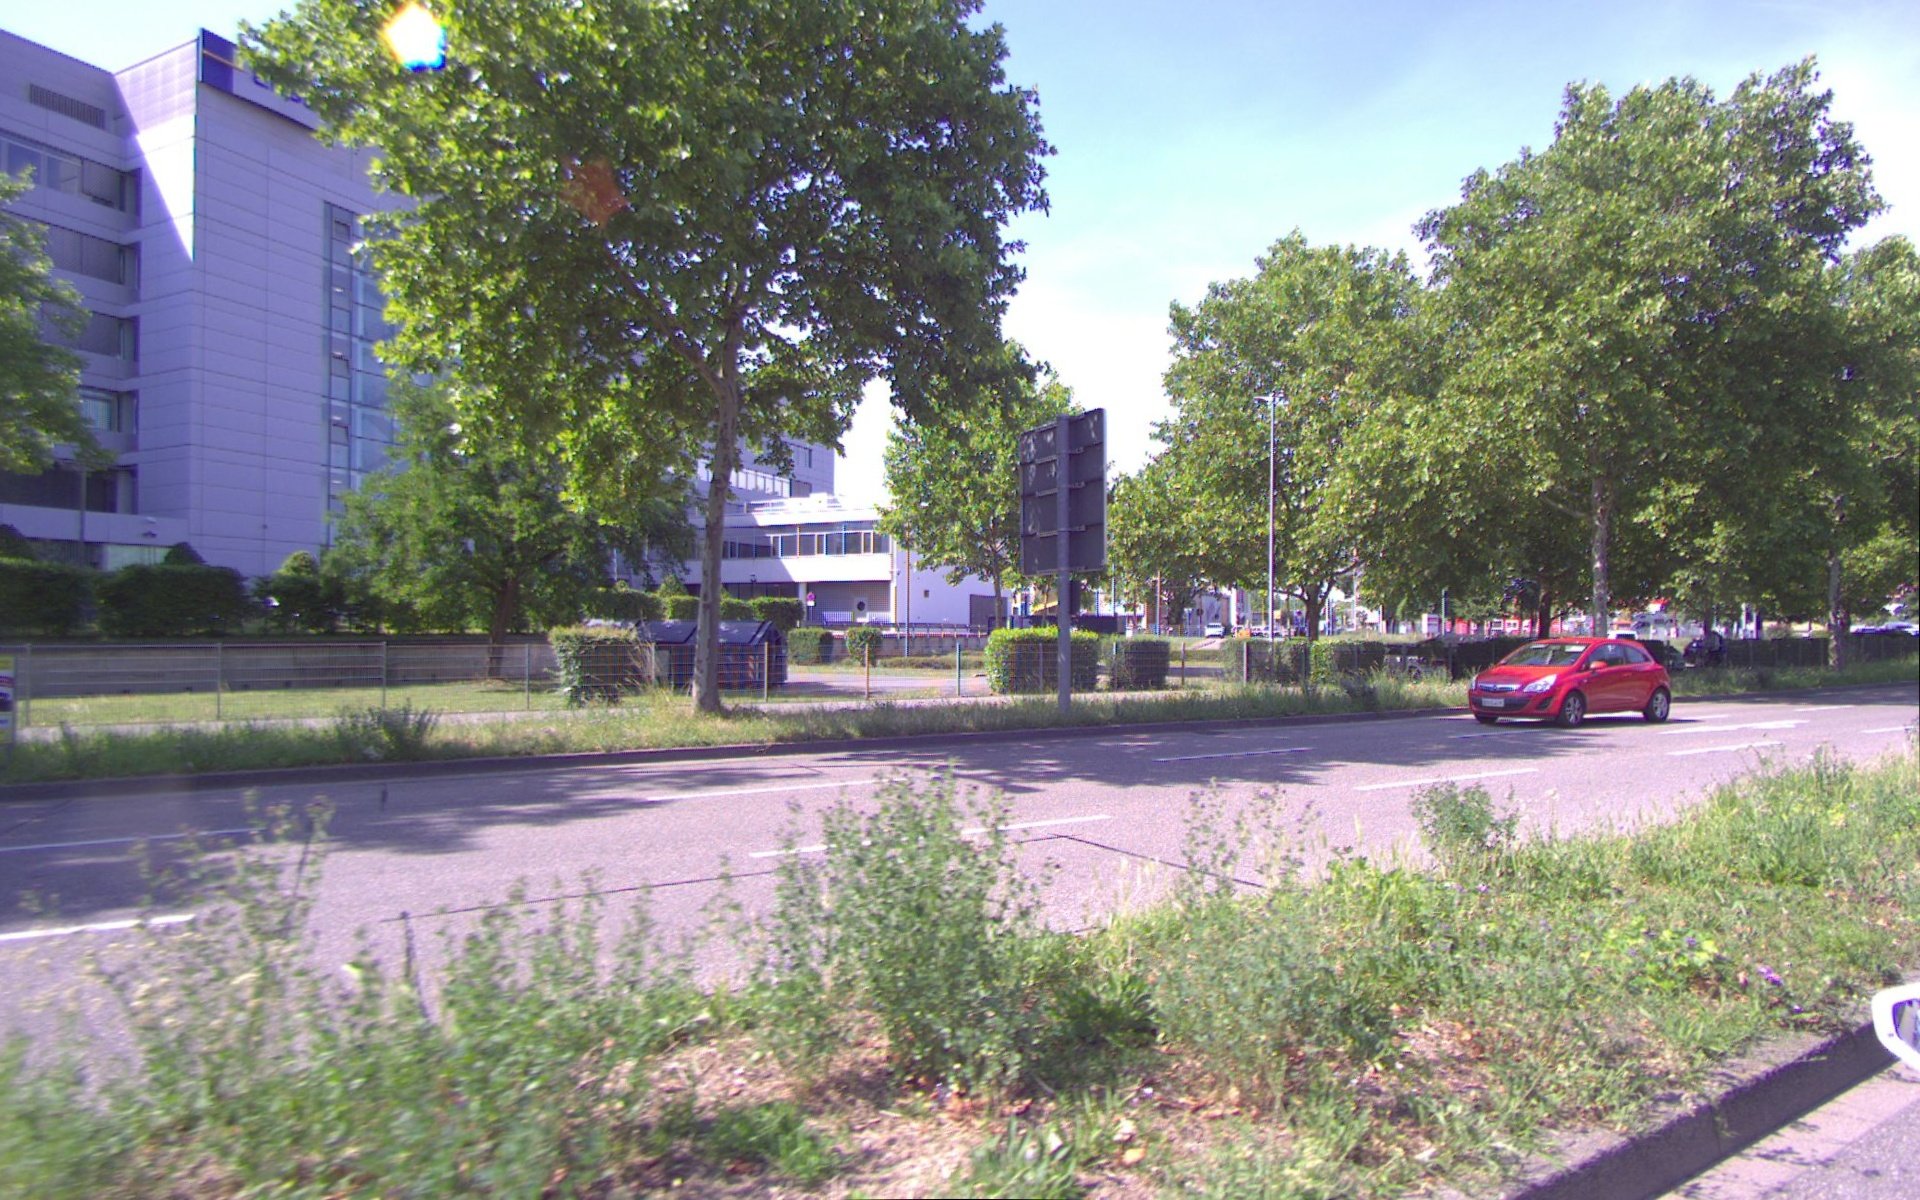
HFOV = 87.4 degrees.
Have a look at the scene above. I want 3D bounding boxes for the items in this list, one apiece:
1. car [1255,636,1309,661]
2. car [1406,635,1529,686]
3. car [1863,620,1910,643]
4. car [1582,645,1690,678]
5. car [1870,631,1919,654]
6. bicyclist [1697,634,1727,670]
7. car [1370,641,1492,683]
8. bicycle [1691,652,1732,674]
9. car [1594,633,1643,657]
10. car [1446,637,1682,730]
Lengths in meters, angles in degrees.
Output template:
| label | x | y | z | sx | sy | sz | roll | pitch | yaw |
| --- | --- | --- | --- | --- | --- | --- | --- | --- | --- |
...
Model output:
| label | x | y | z | sx | sy | sz | roll | pitch | yaw |
| --- | --- | --- | --- | --- | --- | --- | --- | --- | --- |
| car | 22.316 | 3.323 | 69.795 | 1.774 | 1.524 | 3.989 | -2 | 0 | -14 |
| car | 20.412 | 2.391 | 40.568 | 2.128 | 1.847 | 3.974 | 2 | -1 | -26 |
| car | 104.563 | 3.550 | 113.441 | 1.960 | 2.566 | 4.642 | -1 | -2 | 16 |
| car | 32.427 | 2.918 | 48.262 | 1.787 | 1.432 | 3.961 | 3 | -2 | -35 |
| car | 70.215 | 3.138 | 74.212 | 1.695 | 1.624 | 4.148 | 1 | -2 | -18 |
| bicyclist | 31.570 | 2.188 | 42.159 | 0.931 | 1.504 | 0.678 | 1 | -2 | -30 |
| car | 17.958 | 2.327 | 38.467 | 1.751 | 1.483 | 3.970 | 1 | -2 | -29 |
| bicycle | 31.501 | 2.620 | 42.113 | 1.904 | 0.877 | 0.686 | 1 | -2 | -31 |
| car | 47.675 | 3.268 | 72.828 | 1.961 | 1.687 | 4.845 | -1 | -2 | 21 |
| car | 10.609 | 1.398 | 17.621 | 3.949 | 1.481 | 1.757 | 1 | -3 | -28 |
